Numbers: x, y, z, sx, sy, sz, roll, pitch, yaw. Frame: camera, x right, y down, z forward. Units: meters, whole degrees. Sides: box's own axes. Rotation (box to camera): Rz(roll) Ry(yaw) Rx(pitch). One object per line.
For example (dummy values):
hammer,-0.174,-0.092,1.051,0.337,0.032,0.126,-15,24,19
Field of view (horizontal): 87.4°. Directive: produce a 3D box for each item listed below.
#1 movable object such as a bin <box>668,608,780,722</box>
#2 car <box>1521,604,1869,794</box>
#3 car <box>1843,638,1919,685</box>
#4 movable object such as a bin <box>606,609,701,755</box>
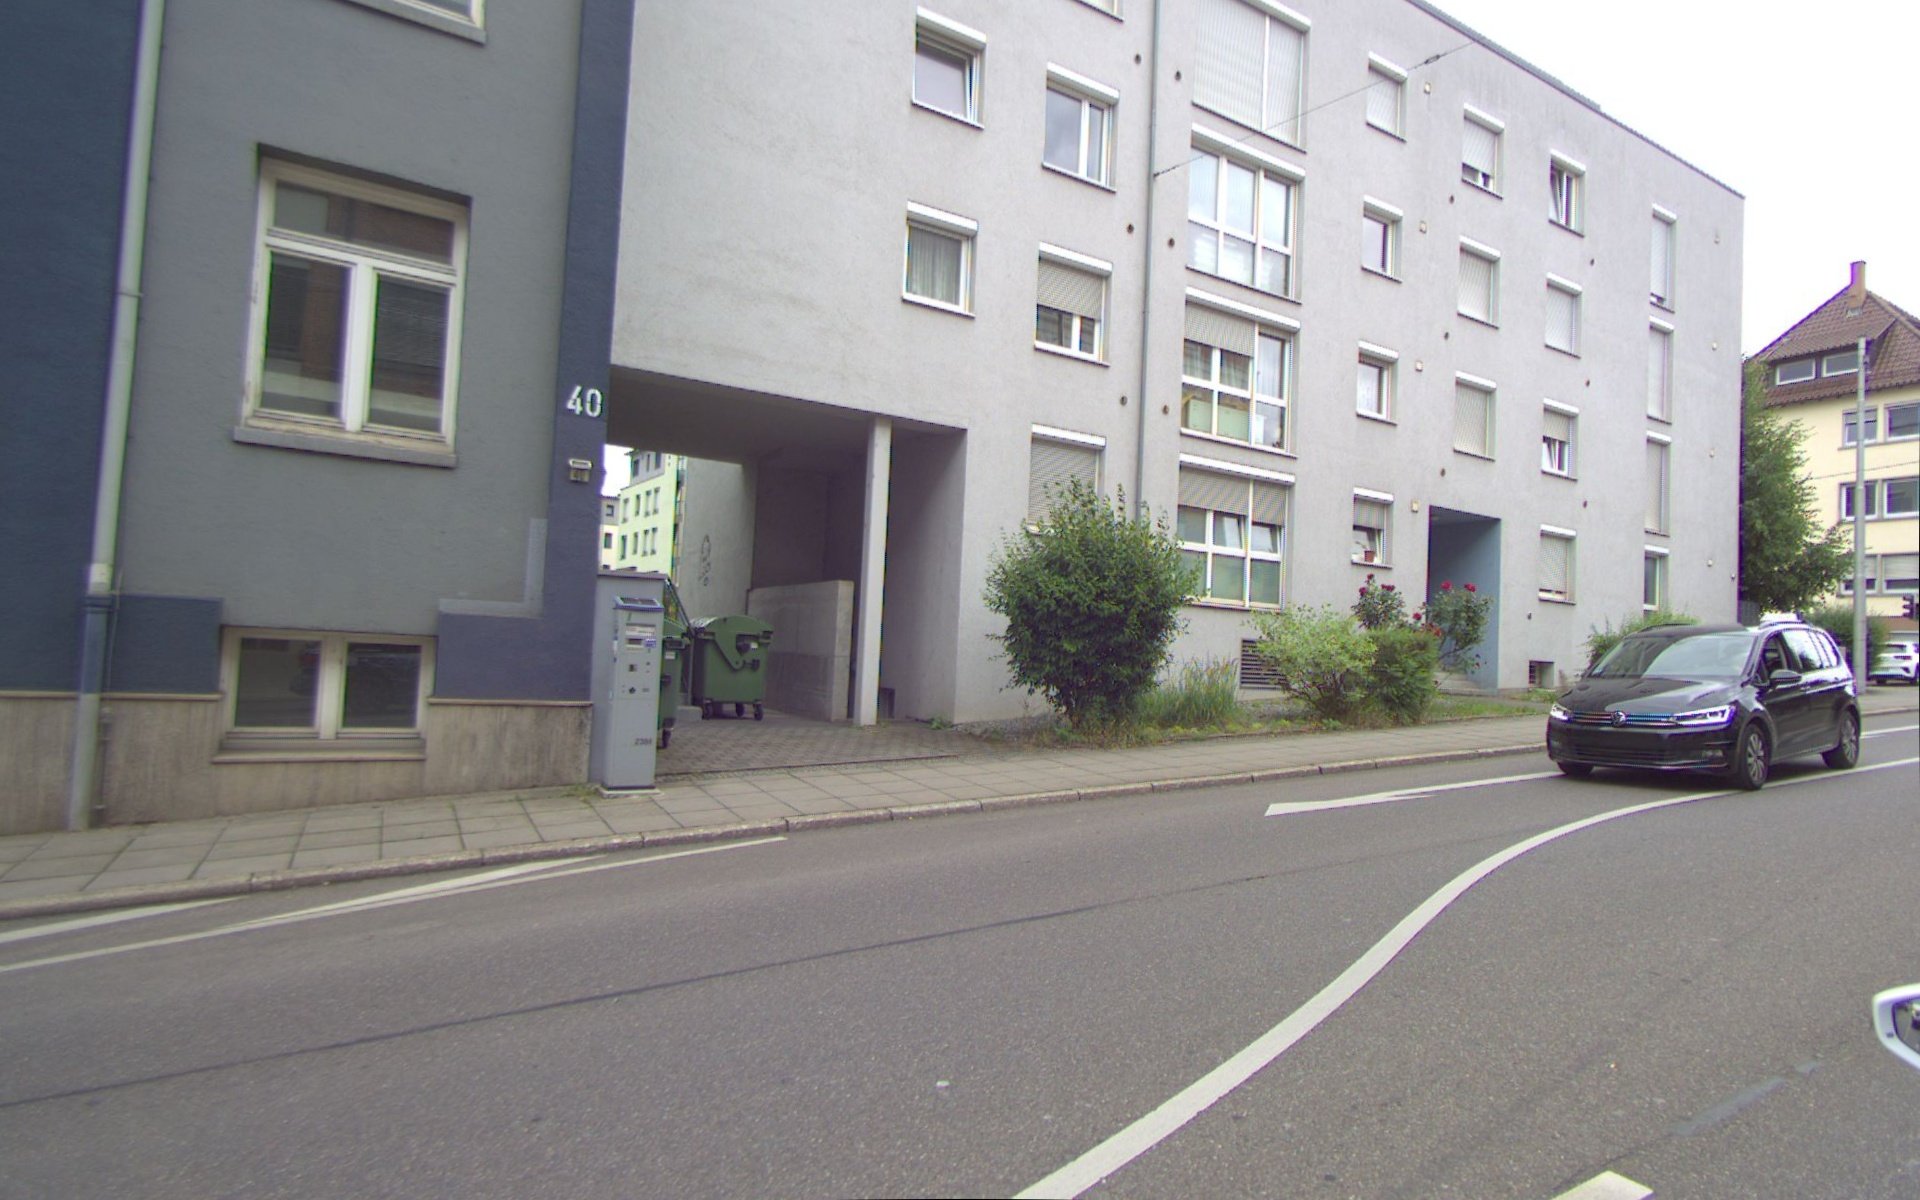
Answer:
movable object such as a bin,-3.387,0.925,14.381,1.177,1.497,1.139,6,-4,-29
car,8.218,1.000,11.131,4.263,1.729,1.773,2,-4,-35
car,33.493,2.186,36.125,3.727,1.575,1.681,1,-4,-34
movable object such as a bin,-3.406,0.865,11.106,0.774,1.475,1.260,2,1,-26
